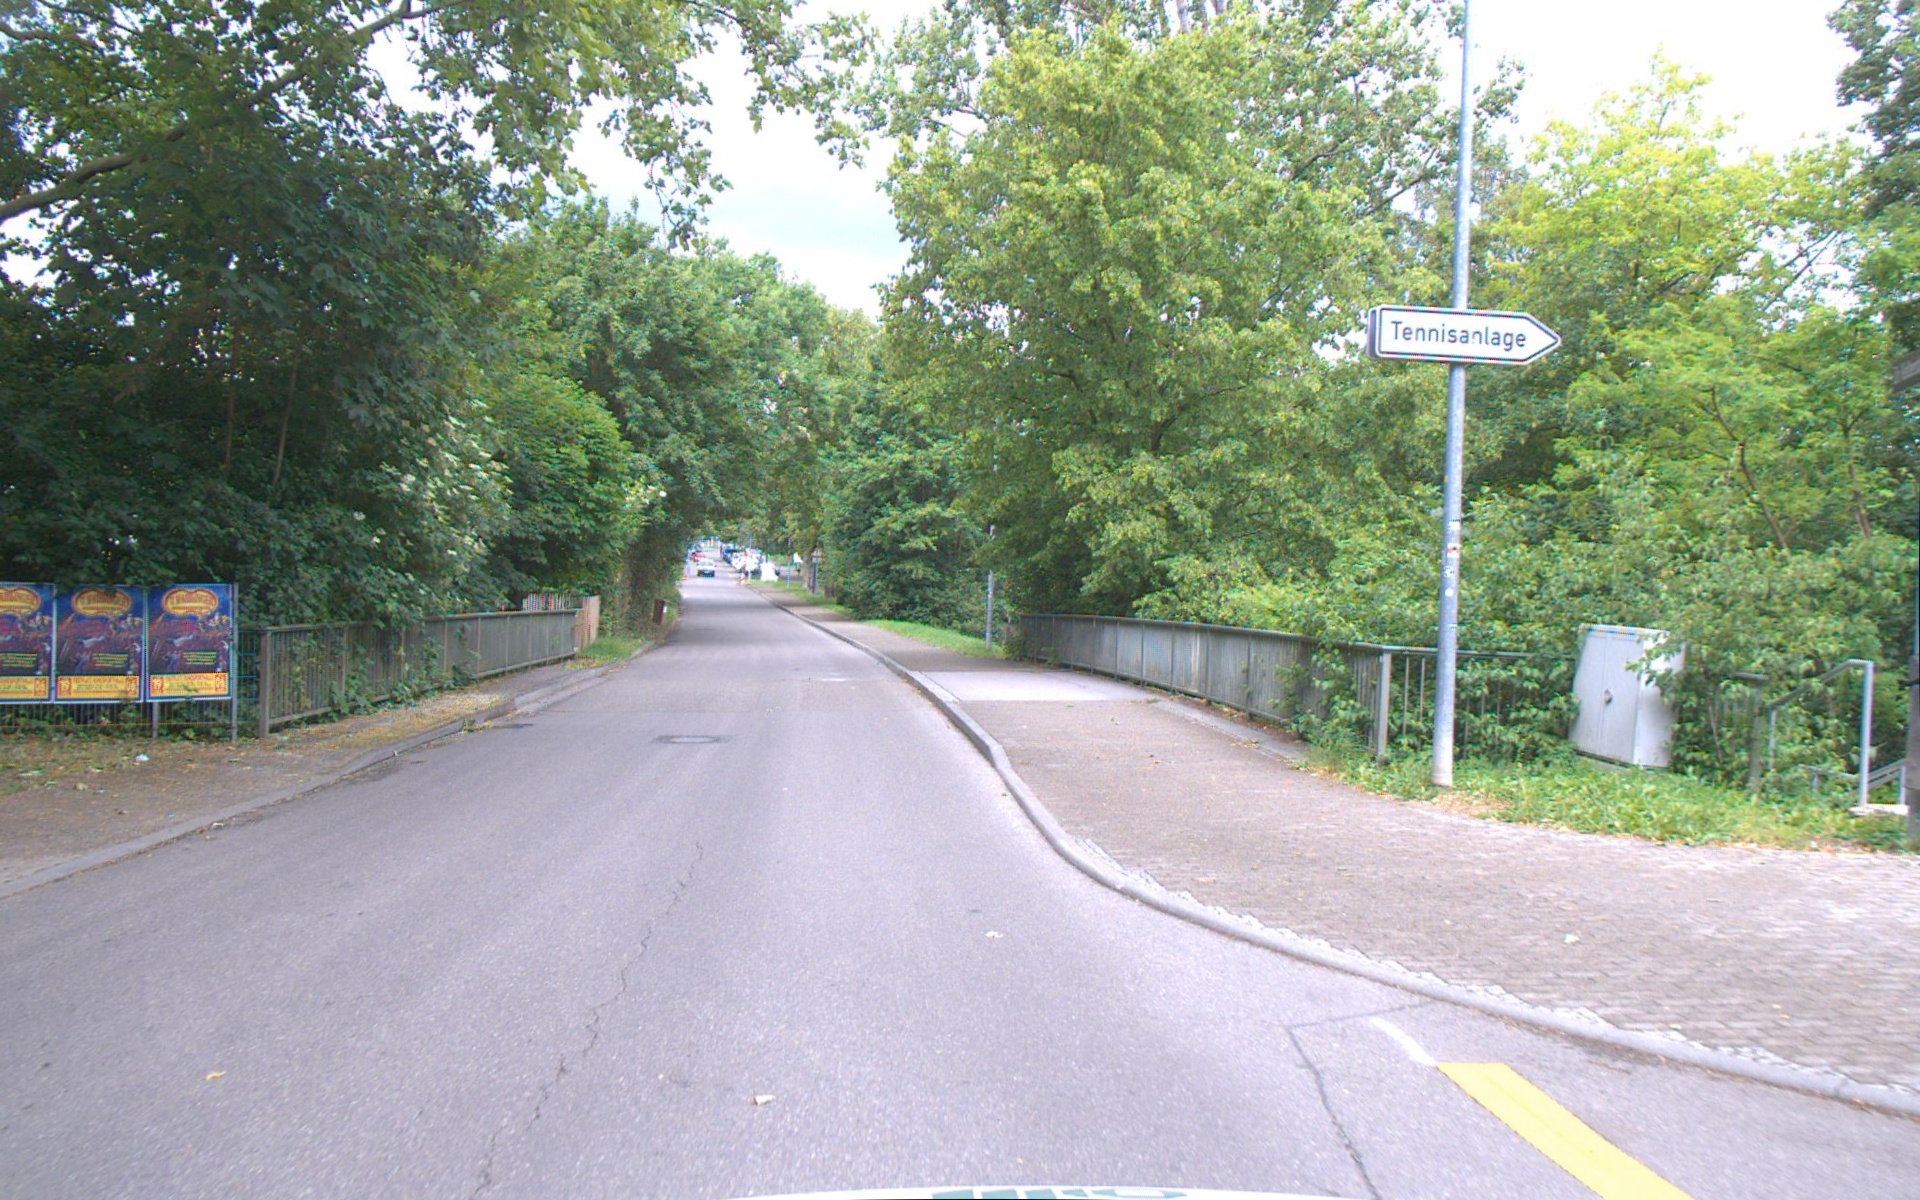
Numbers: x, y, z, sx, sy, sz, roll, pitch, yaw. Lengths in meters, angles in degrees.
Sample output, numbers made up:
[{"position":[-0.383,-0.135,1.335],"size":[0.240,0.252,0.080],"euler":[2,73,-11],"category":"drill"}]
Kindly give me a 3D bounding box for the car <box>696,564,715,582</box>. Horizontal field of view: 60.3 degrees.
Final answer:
[{"position":[-27.170,-2.861,176.597],"size":[1.956,1.803,3.993],"euler":[1,-1,-8],"category":"car"}]

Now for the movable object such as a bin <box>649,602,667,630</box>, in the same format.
[{"position":[-10.800,0.566,59.098],"size":[0.579,0.974,0.469],"euler":[1,-1,-8],"category":"movable object such as a bin"}]
